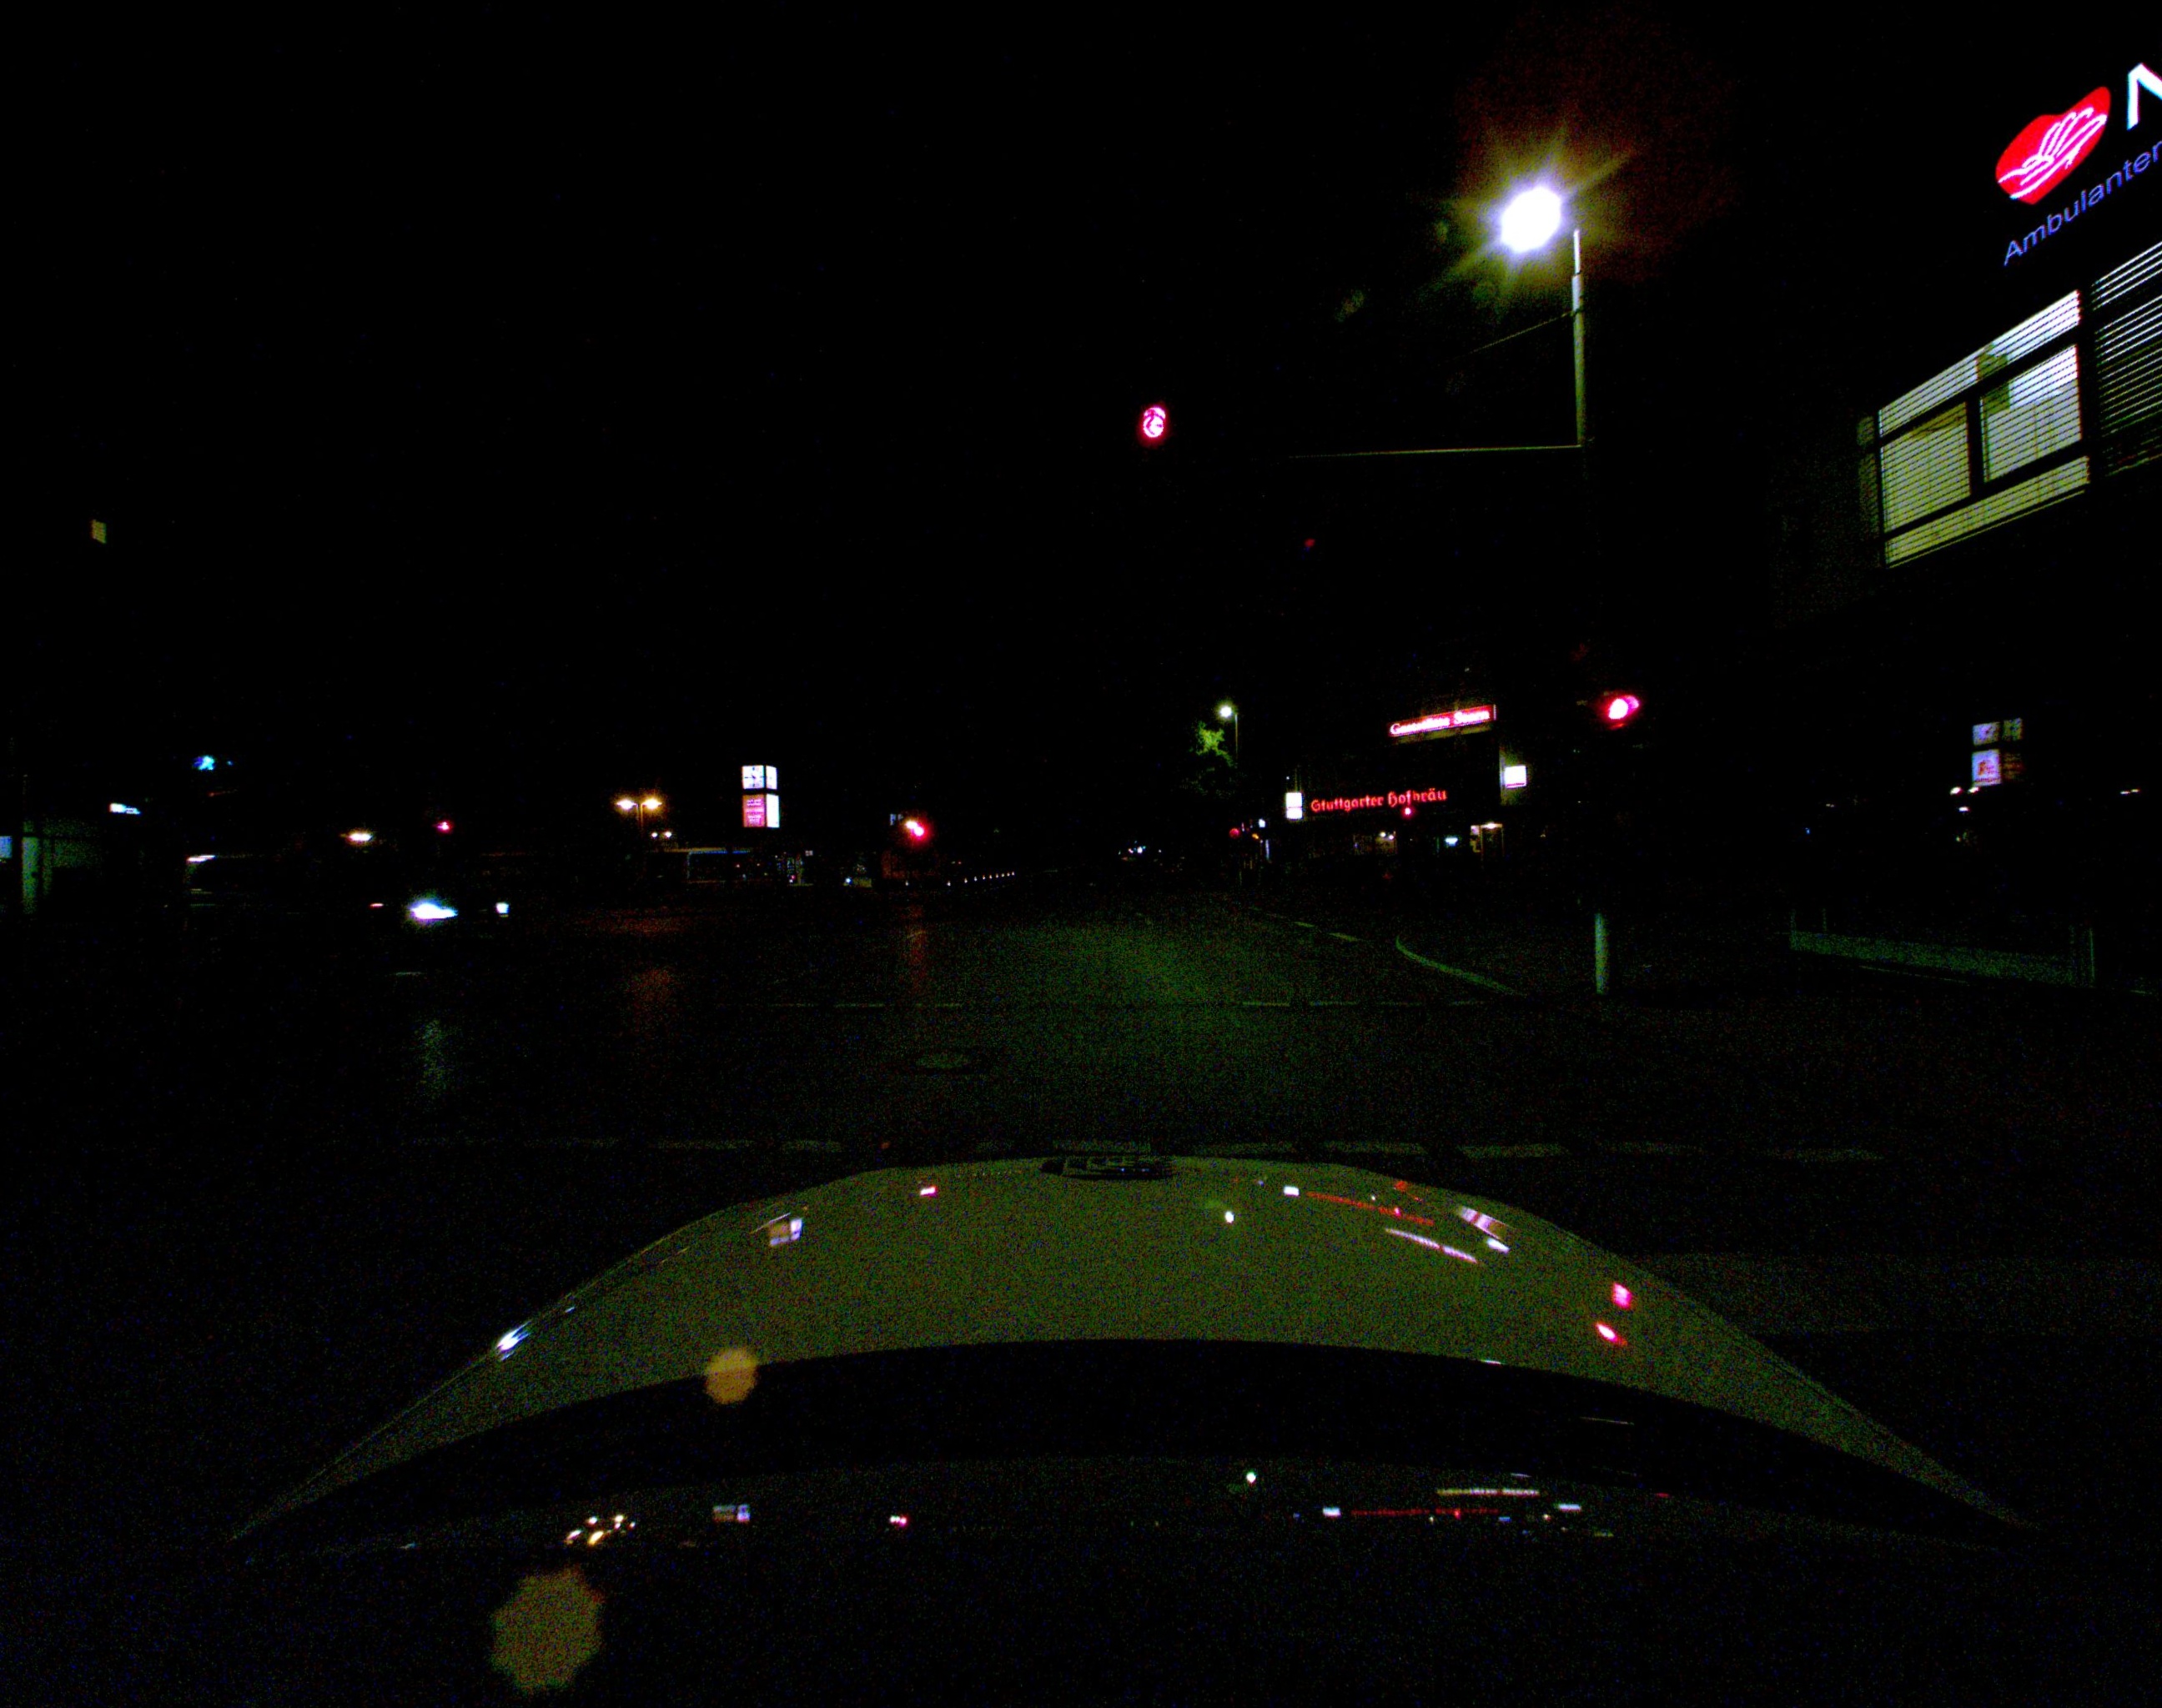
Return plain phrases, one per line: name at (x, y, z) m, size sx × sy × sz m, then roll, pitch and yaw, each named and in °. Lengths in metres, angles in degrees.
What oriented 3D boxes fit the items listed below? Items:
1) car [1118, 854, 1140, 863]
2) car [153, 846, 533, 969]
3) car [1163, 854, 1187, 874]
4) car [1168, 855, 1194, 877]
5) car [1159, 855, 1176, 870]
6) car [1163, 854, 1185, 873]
car at (9.436, 0.905, 160.503) m, size 4.023 × 1.651 × 2.207 m, roll -1°, pitch -1°, yaw -43°
car at (-12.762, 0.883, 14.323) m, size 4.878 × 1.871 × 1.974 m, roll -2°, pitch -1°, yaw 1°
car at (7.884, 0.829, 68.774) m, size 1.868 × 1.615 × 4.005 m, roll -2°, pitch -1°, yaw 5°
car at (7.809, 0.914, 63.829) m, size 1.868 × 1.615 × 4.005 m, roll -2°, pitch -1°, yaw 5°
car at (10.042, 0.945, 94.497) m, size 1.868 × 1.683 × 4.005 m, roll -2°, pitch -1°, yaw 5°
car at (8.679, 0.875, 76.430) m, size 1.868 × 1.729 × 4.005 m, roll -2°, pitch -1°, yaw 5°
